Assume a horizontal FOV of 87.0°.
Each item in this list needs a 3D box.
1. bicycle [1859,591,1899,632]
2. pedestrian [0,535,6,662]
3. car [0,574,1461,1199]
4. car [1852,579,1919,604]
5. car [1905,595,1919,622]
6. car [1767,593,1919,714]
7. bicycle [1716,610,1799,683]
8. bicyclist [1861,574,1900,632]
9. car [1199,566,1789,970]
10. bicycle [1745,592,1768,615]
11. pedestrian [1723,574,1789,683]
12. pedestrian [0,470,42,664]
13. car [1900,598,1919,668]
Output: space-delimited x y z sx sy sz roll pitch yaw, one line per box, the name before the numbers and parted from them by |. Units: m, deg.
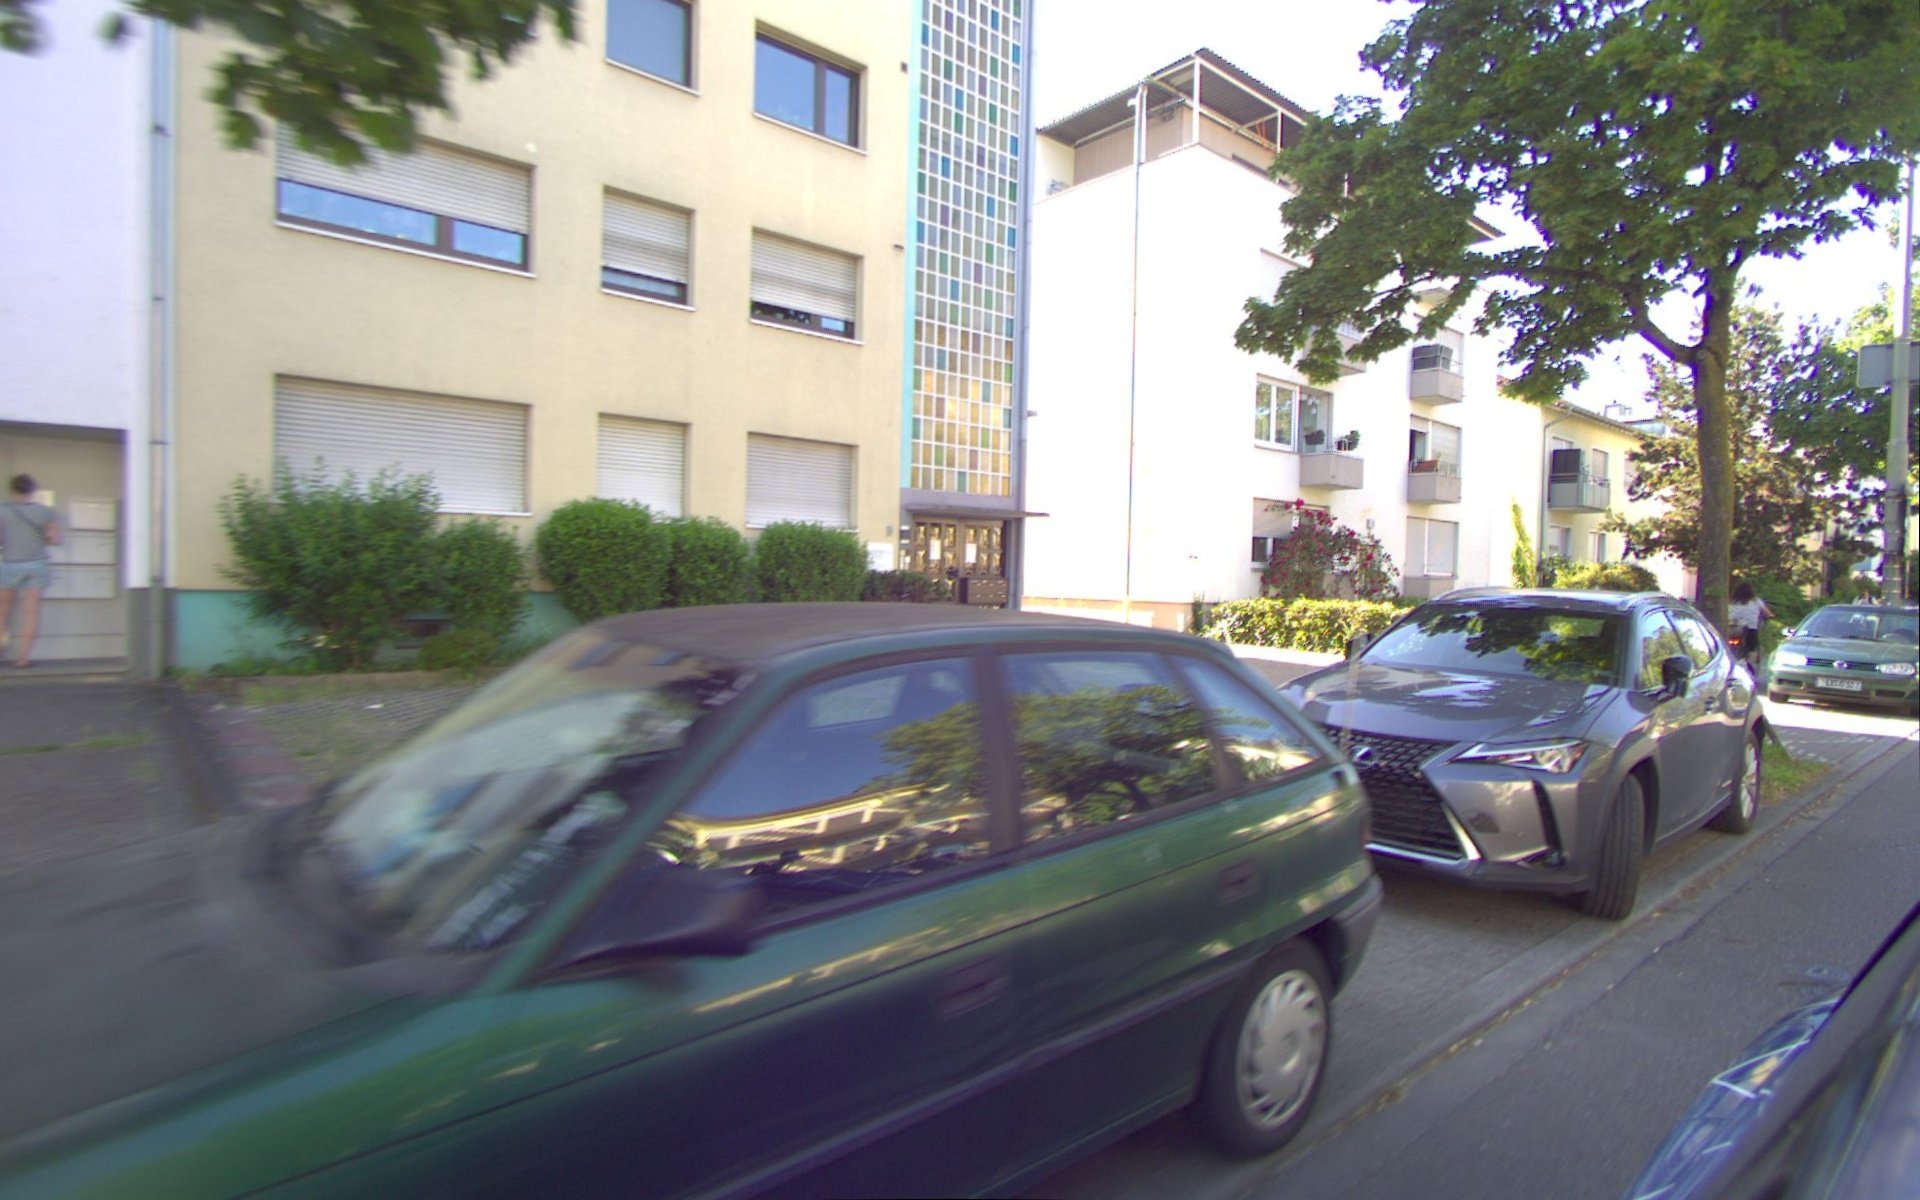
bicycle | 29.689 0.369 32.686 1.790 1.262 0.699 0 3 -41
pedestrian | -9.273 -0.014 9.498 0.333 1.212 0.367 -1 -1 -16
car | -0.503 0.680 2.429 3.906 1.400 1.615 0 2 -40
car | 64.096 -0.565 69.440 1.799 1.458 3.998 0 5 -40
car | 50.495 0.464 52.610 3.653 1.372 1.535 0 4 -41
car | 13.129 0.662 14.451 4.073 1.445 1.696 0 2 -40
bicycle | 13.192 0.733 16.721 2.090 1.083 0.683 0 2 -41
bicyclist | 29.702 0.098 32.649 0.998 1.815 0.725 0 2 -41
car | 3.333 0.612 5.893 4.162 1.507 1.717 0 2 -43
bicycle | 37.082 0.154 47.118 1.713 1.004 0.456 -2 5 -41
pedestrian | 13.023 0.446 16.560 0.762 1.703 0.671 0 2 -41
pedestrian | -8.724 -0.295 9.332 0.364 1.759 0.360 -2 -2 43
car | 21.519 0.704 21.584 4.375 1.413 1.590 0 3 -40
